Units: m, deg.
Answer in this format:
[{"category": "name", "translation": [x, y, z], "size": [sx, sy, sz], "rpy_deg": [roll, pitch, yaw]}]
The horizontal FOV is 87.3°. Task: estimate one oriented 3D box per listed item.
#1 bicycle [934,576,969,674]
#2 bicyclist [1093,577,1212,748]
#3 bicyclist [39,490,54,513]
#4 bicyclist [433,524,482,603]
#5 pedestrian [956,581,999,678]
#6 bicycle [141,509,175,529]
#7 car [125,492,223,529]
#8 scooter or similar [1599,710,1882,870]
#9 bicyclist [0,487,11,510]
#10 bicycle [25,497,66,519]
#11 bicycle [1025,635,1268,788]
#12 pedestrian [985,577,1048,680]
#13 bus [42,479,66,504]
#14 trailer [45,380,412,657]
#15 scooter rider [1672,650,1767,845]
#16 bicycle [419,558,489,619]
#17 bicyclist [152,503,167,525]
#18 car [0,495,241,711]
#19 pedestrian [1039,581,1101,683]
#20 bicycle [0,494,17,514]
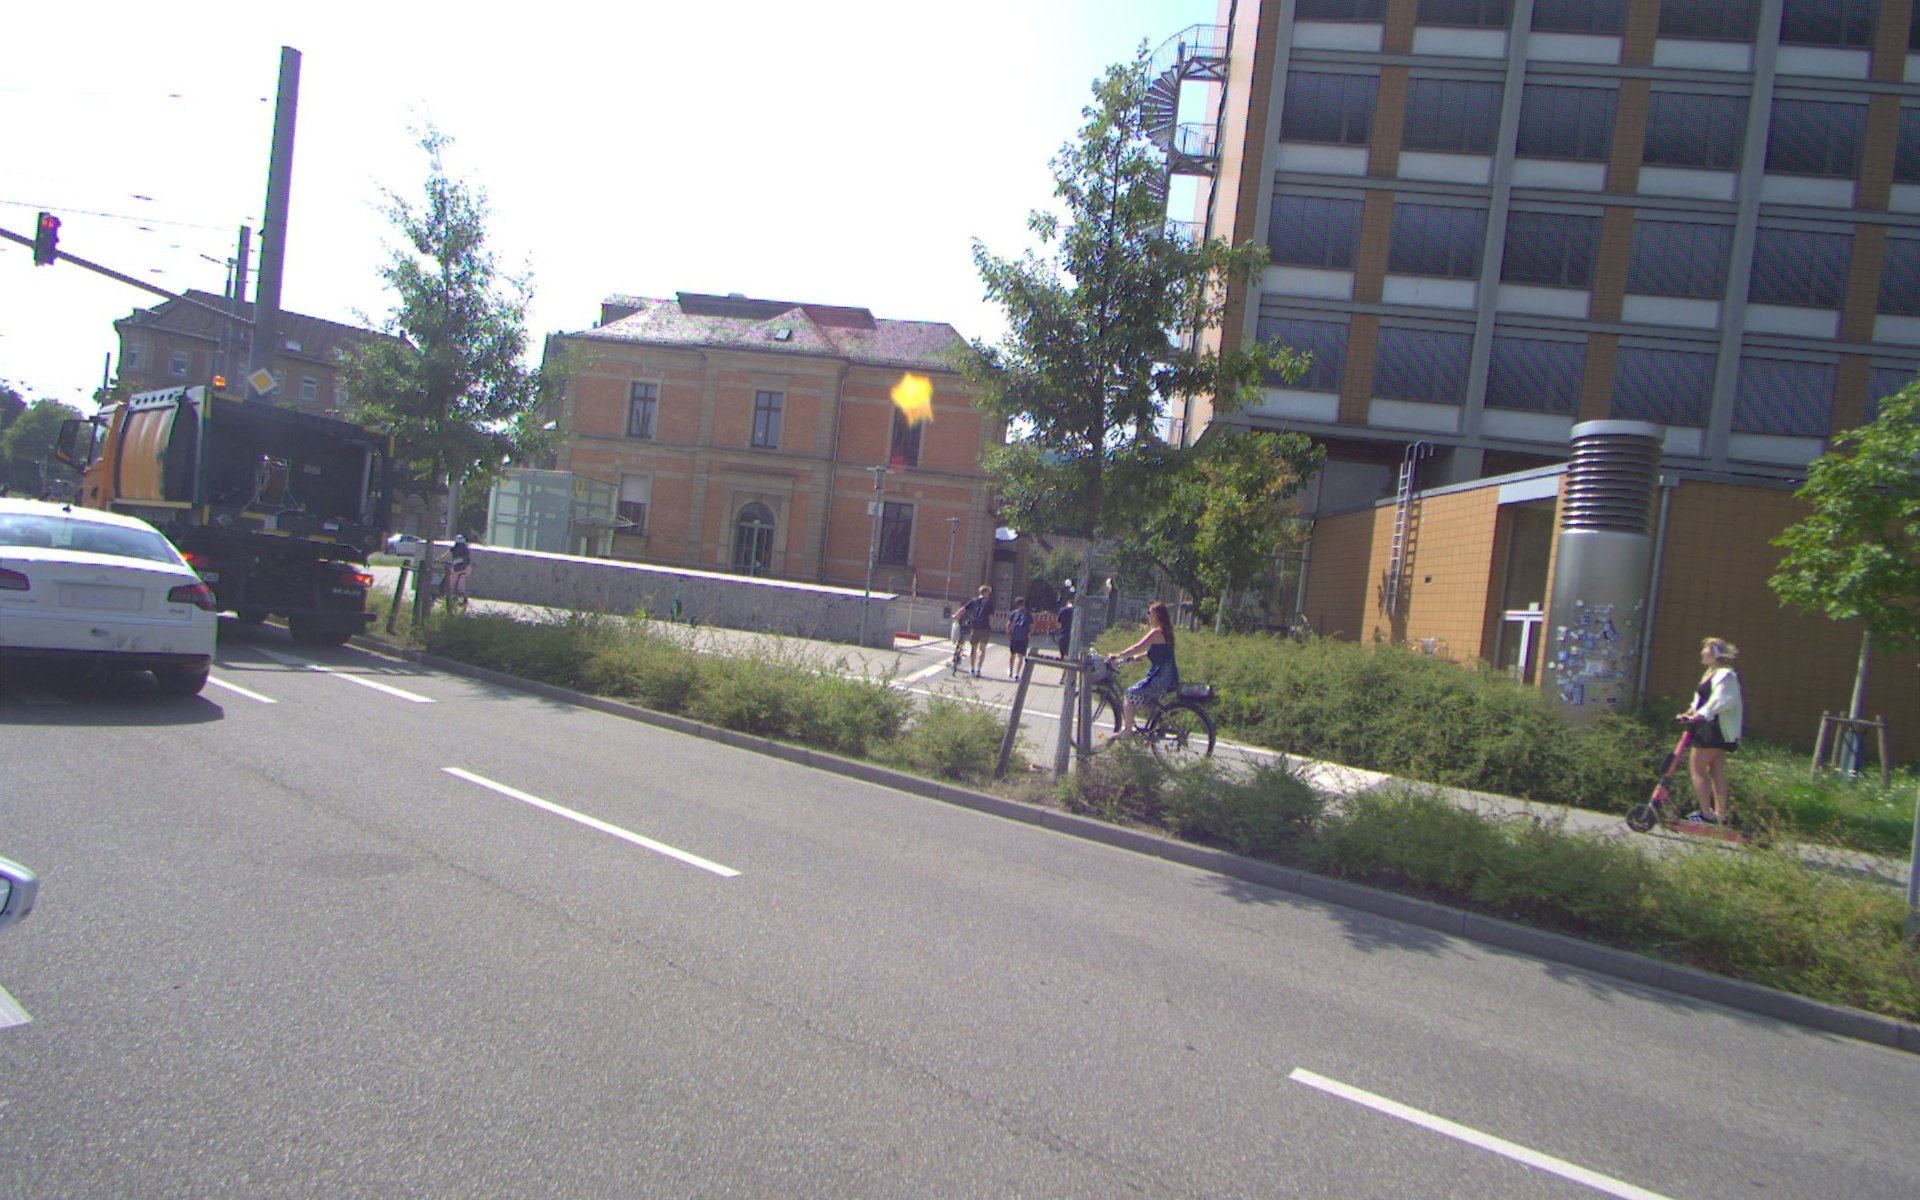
[{"category": "bicycle", "translation": [-0.160, 0.490, 20.384], "size": [0.448, 1.884, 1.362], "rpy_deg": [6, 1, 3]}, {"category": "bicyclist", "translation": [1.987, 0.617, 10.380], "size": [0.831, 1.621, 0.689], "rpy_deg": [8, 4, 39]}, {"category": "bicyclist", "translation": [-50.968, -5.516, 56.108], "size": [0.500, 1.203, 0.502], "rpy_deg": [6, 1, -37]}, {"category": "bicyclist", "translation": [-10.293, -0.745, 20.602], "size": [0.793, 1.515, 0.547], "rpy_deg": [7, 1, 43]}, {"category": "pedestrian", "translation": [0.373, 0.585, 20.627], "size": [0.649, 1.884, 0.793], "rpy_deg": [7, 1, 2]}, {"category": "bicycle", "translation": [-50.159, -5.073, 62.917], "size": [1.580, 0.997, 0.502], "rpy_deg": [7, 1, -34]}, {"category": "car", "translation": [-43.869, -4.998, 56.229], "size": [1.703, 1.437, 3.903], "rpy_deg": [7, 0, 26]}, {"category": "scooter or similar", "translation": [7.257, 1.734, 9.495], "size": [1.972, 1.074, 0.556], "rpy_deg": [6, 3, 34]}, {"category": "bicyclist", "translation": [-53.690, -5.700, 56.285], "size": [0.498, 1.263, 0.595], "rpy_deg": [6, 1, -6]}, {"category": "bicycle", "translation": [-50.994, -5.123, 56.124], "size": [1.582, 0.997, 0.502], "rpy_deg": [7, 1, -38]}, {"category": "bicycle", "translation": [1.879, 1.092, 10.465], "size": [2.336, 1.170, 0.692], "rpy_deg": [7, 3, 39]}, {"category": "pedestrian", "translation": [1.152, 0.586, 20.586], "size": [0.774, 1.998, 0.745], "rpy_deg": [5, 2, -39]}, {"category": "bus", "translation": [-143.735, -17.177, 159.670], "size": [2.552, 3.550, 7.709], "rpy_deg": [6, 1, -41]}, {"category": "trailer", "translation": [-10.660, -1.155, 14.414], "size": [6.232, 3.043, 2.462], "rpy_deg": [7, -1, 39]}, {"category": "scooter rider", "translation": [7.180, 1.363, 9.538], "size": [0.530, 1.721, 0.670], "rpy_deg": [6, 1, 34]}, {"category": "bicycle", "translation": [-10.430, -0.247, 20.695], "size": [1.977, 1.073, 0.555], "rpy_deg": [7, 1, 43]}, {"category": "bicyclist", "translation": [-50.065, -5.391, 62.951], "size": [0.590, 1.263, 0.502], "rpy_deg": [6, 1, -34]}, {"category": "car", "translation": [-8.067, -0.127, 8.662], "size": [4.358, 1.473, 1.758], "rpy_deg": [7, 0, 37]}, {"category": "pedestrian", "translation": [2.275, 0.668, 20.837], "size": [0.774, 1.998, 0.745], "rpy_deg": [5, 2, -39]}, {"category": "bicycle", "translation": [-53.724, -5.403, 56.288], "size": [0.498, 0.997, 1.594], "rpy_deg": [6, 0, -6]}]
